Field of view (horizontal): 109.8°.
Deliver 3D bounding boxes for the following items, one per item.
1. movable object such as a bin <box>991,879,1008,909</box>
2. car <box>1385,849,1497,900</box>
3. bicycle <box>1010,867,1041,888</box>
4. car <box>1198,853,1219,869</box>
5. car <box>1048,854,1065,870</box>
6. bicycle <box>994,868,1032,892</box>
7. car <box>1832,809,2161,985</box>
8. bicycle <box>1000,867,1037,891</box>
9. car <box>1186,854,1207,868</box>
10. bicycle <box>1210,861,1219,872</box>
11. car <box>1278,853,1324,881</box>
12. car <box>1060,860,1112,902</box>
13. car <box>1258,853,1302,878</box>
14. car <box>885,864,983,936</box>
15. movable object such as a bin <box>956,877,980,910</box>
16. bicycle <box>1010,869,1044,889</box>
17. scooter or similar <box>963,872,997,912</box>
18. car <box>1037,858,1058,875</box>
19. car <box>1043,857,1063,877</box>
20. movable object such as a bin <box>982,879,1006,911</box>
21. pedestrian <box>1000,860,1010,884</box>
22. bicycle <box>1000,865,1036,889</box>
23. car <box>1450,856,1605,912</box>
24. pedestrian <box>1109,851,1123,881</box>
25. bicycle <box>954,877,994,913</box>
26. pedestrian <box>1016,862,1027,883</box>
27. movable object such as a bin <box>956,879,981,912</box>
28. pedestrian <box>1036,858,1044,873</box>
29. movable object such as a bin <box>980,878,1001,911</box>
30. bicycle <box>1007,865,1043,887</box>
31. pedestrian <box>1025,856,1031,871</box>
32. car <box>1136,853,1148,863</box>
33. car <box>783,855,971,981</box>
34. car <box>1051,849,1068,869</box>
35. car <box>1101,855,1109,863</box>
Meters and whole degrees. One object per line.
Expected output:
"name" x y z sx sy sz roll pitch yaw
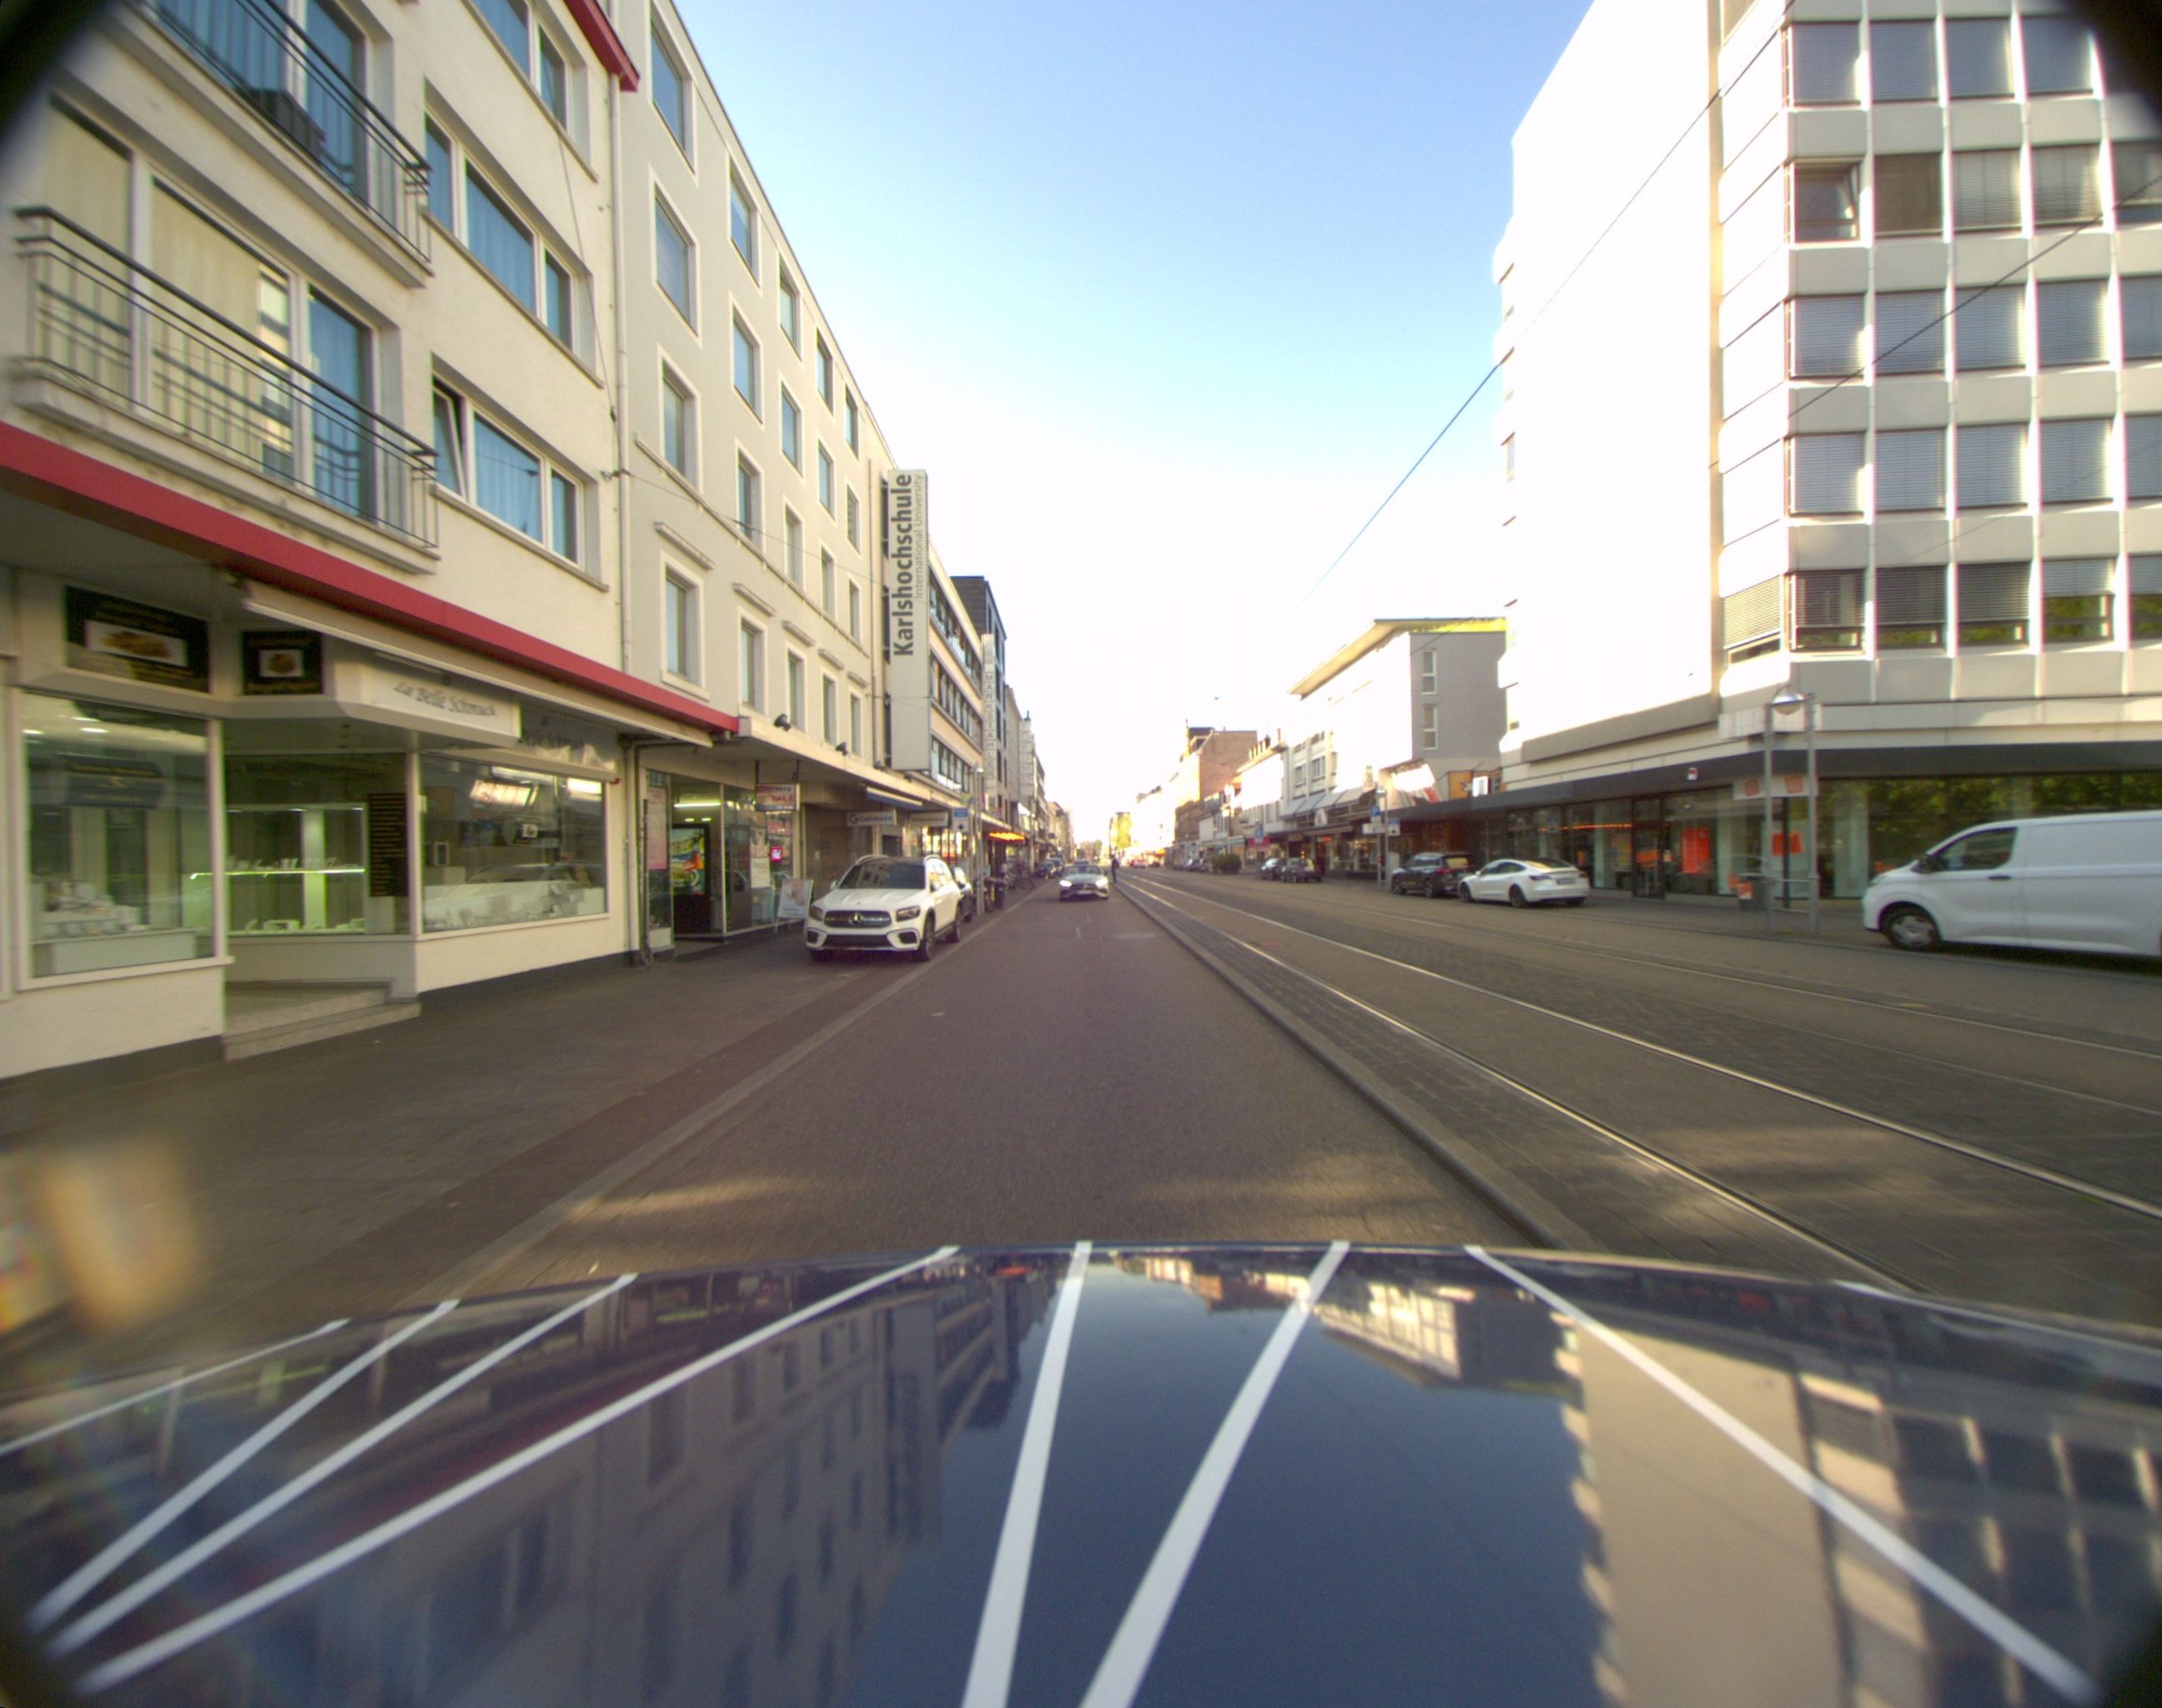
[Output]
"movable object such as a bin" -2.704 1.325 25.226 0.489 0.952 0.458 0 1 4
"car" 13.357 0.695 28.574 1.983 1.669 4.655 -3 0 1
"bicycle" -3.134 1.321 42.888 1.778 1.124 0.478 0 0 -5
"car" 13.592 0.746 81.008 1.701 1.594 2.891 -3 0 0
"car" -3.103 0.949 95.409 2.052 1.899 4.877 -1 0 -2
"bicycle" -3.300 1.277 37.070 1.792 1.152 0.669 0 0 0
"car" 13.211 0.445 9.765 1.998 1.963 5.096 -3 0 0
"bicycle" -3.134 1.256 38.148 1.792 1.210 0.669 0 0 0
"car" 13.720 0.778 90.433 1.822 1.505 4.762 -2 0 0
"bicycle" 12.975 1.212 73.791 0.519 1.084 1.716 -3 0 1
"car" 13.379 0.772 46.360 1.605 1.514 3.588 -3 0 -2
"car" 0.180 1.006 30.031 1.858 1.463 4.786 -1 0 0
"car" 13.636 0.750 52.387 1.741 1.514 4.851 -3 0 1
"car" -3.522 1.043 18.875 1.618 1.519 4.070 0 0 0
"movable object such as a bin" -3.668 1.282 24.719 0.659 1.008 0.636 -1 1 3
"bicycle" -2.879 1.324 40.679 1.778 1.026 0.597 0 0 0
"scooter or similar" -3.095 1.163 23.354 0.995 1.224 0.320 1 1 -1
"car" -2.966 1.087 67.887 1.726 1.476 4.416 1 0 0
"car" -2.741 1.198 74.243 1.821 1.849 4.548 0 0 -3
"movable object such as a bin" -2.836 1.317 24.682 0.688 1.008 0.508 -1 1 3
"pedestrian" -5.154 1.228 51.600 0.583 1.576 0.597 1 1 -1
"bicycle" -3.240 1.209 39.293 1.792 1.210 0.587 0 0 0
"car" 13.354 0.824 23.131 1.893 1.413 4.655 -3 0 -1
"pedestrian" 2.145 0.758 46.691 0.806 1.827 0.746 0 1 -1
"bicycle" -3.234 1.247 23.007 1.134 1.073 0.320 1 1 -1
"pedestrian" -4.071 1.266 52.169 0.584 1.485 0.523 0 1 -35
"movable object such as a bin" -3.538 1.305 23.952 0.659 1.008 0.636 -1 1 3
"pedestrian" -4.272 1.185 78.920 0.697 1.499 0.814 -1 0 0
"movable object such as a bin" -2.845 1.275 23.961 0.523 1.008 0.671 -1 1 3
"bicycle" -3.245 1.252 43.786 2.043 1.267 0.524 0 0 -9
"pedestrian" -5.409 0.971 77.474 0.577 1.431 0.731 1 1 0
"car" 10.594 0.735 131.326 1.802 1.625 3.676 -1 0 0
"car" -3.223 0.895 13.179 1.854 1.714 5.192 1 0 0
"car" -2.861 0.676 101.528 2.051 2.486 5.687 -3 -1 -1
"car" 6.280 1.282 197.188 1.998 2.002 4.000 -3 0 1
